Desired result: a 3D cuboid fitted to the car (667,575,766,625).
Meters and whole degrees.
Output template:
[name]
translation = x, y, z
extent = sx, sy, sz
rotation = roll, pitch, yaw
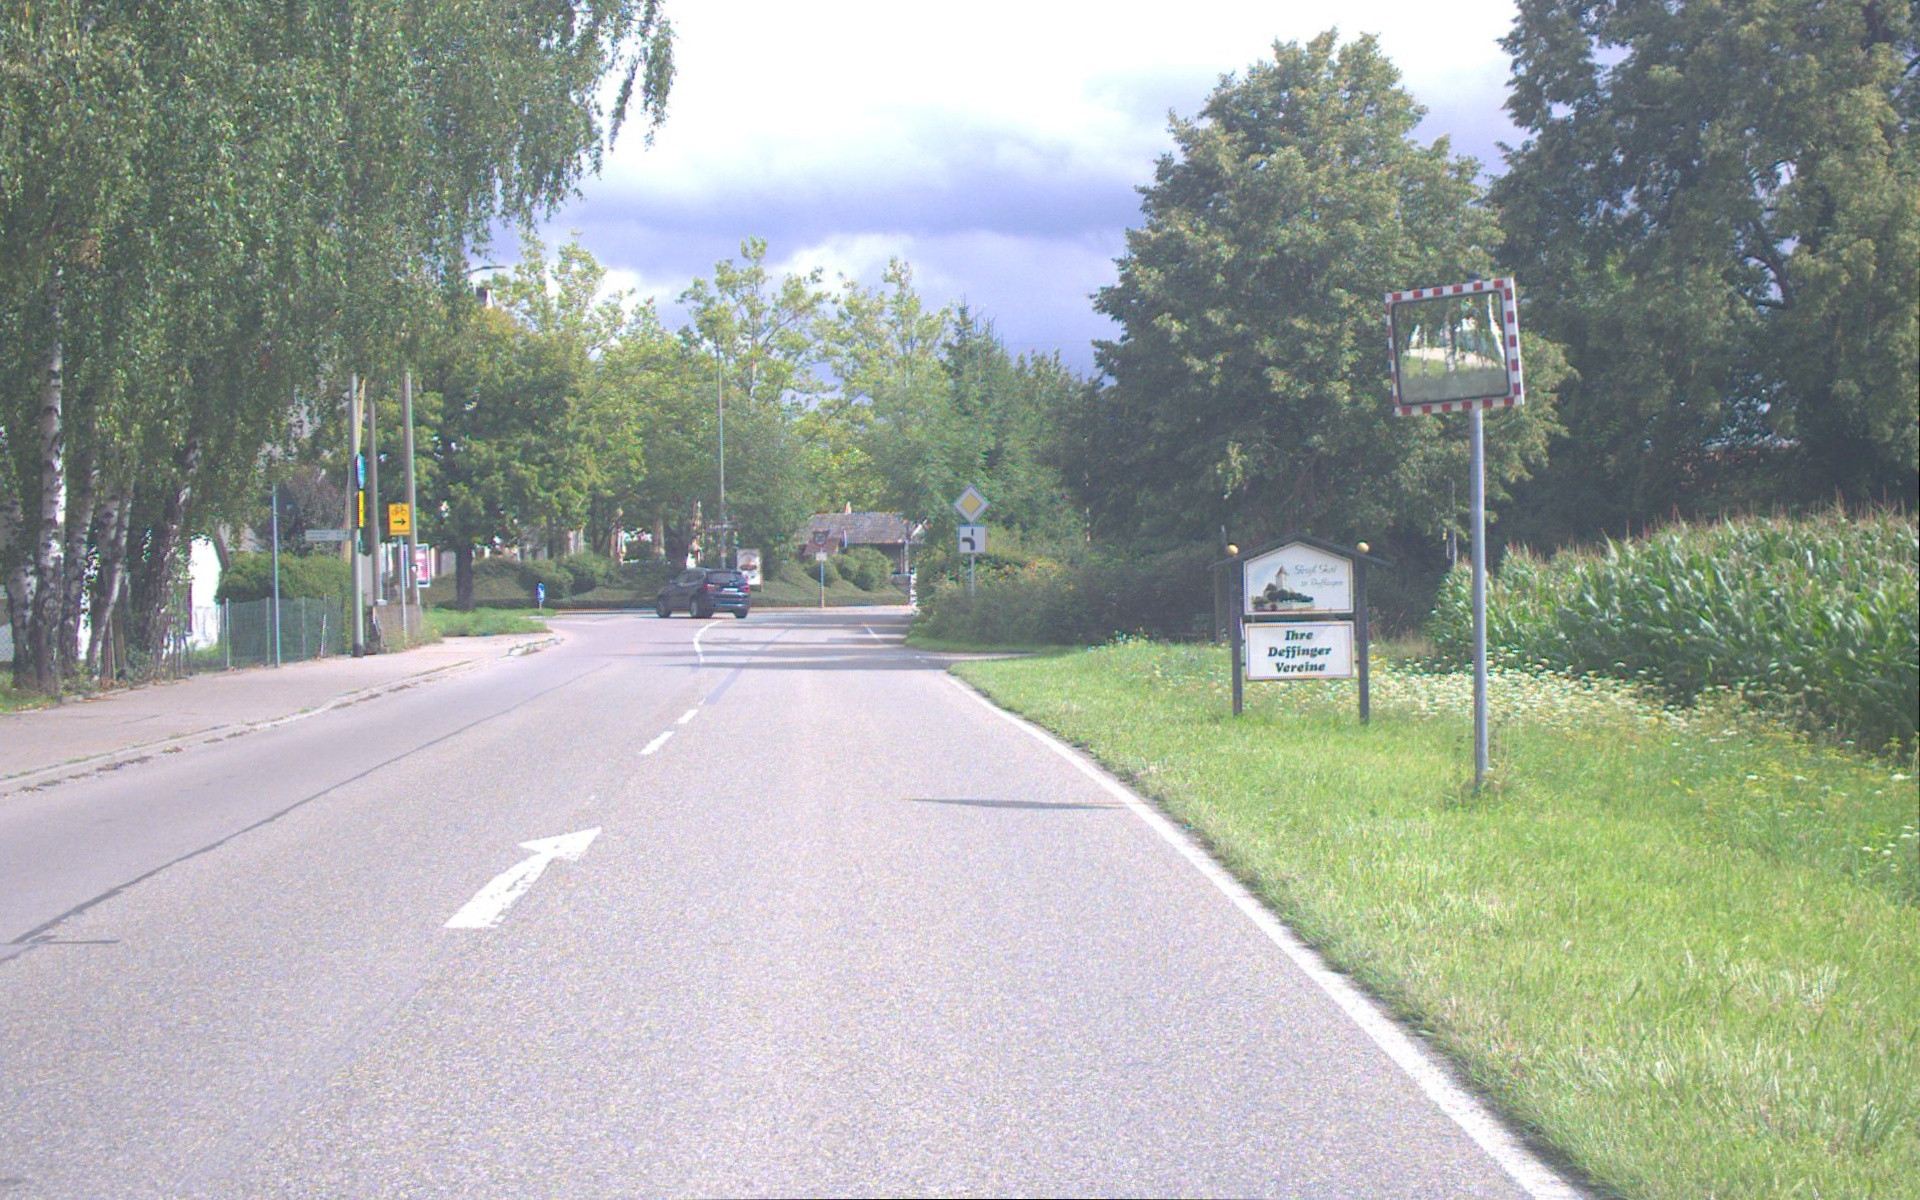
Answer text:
[car]
translation = -8.205, -0.028, 115.661
extent = 1.993, 1.579, 4.001
rotation = -1, 1, -26
